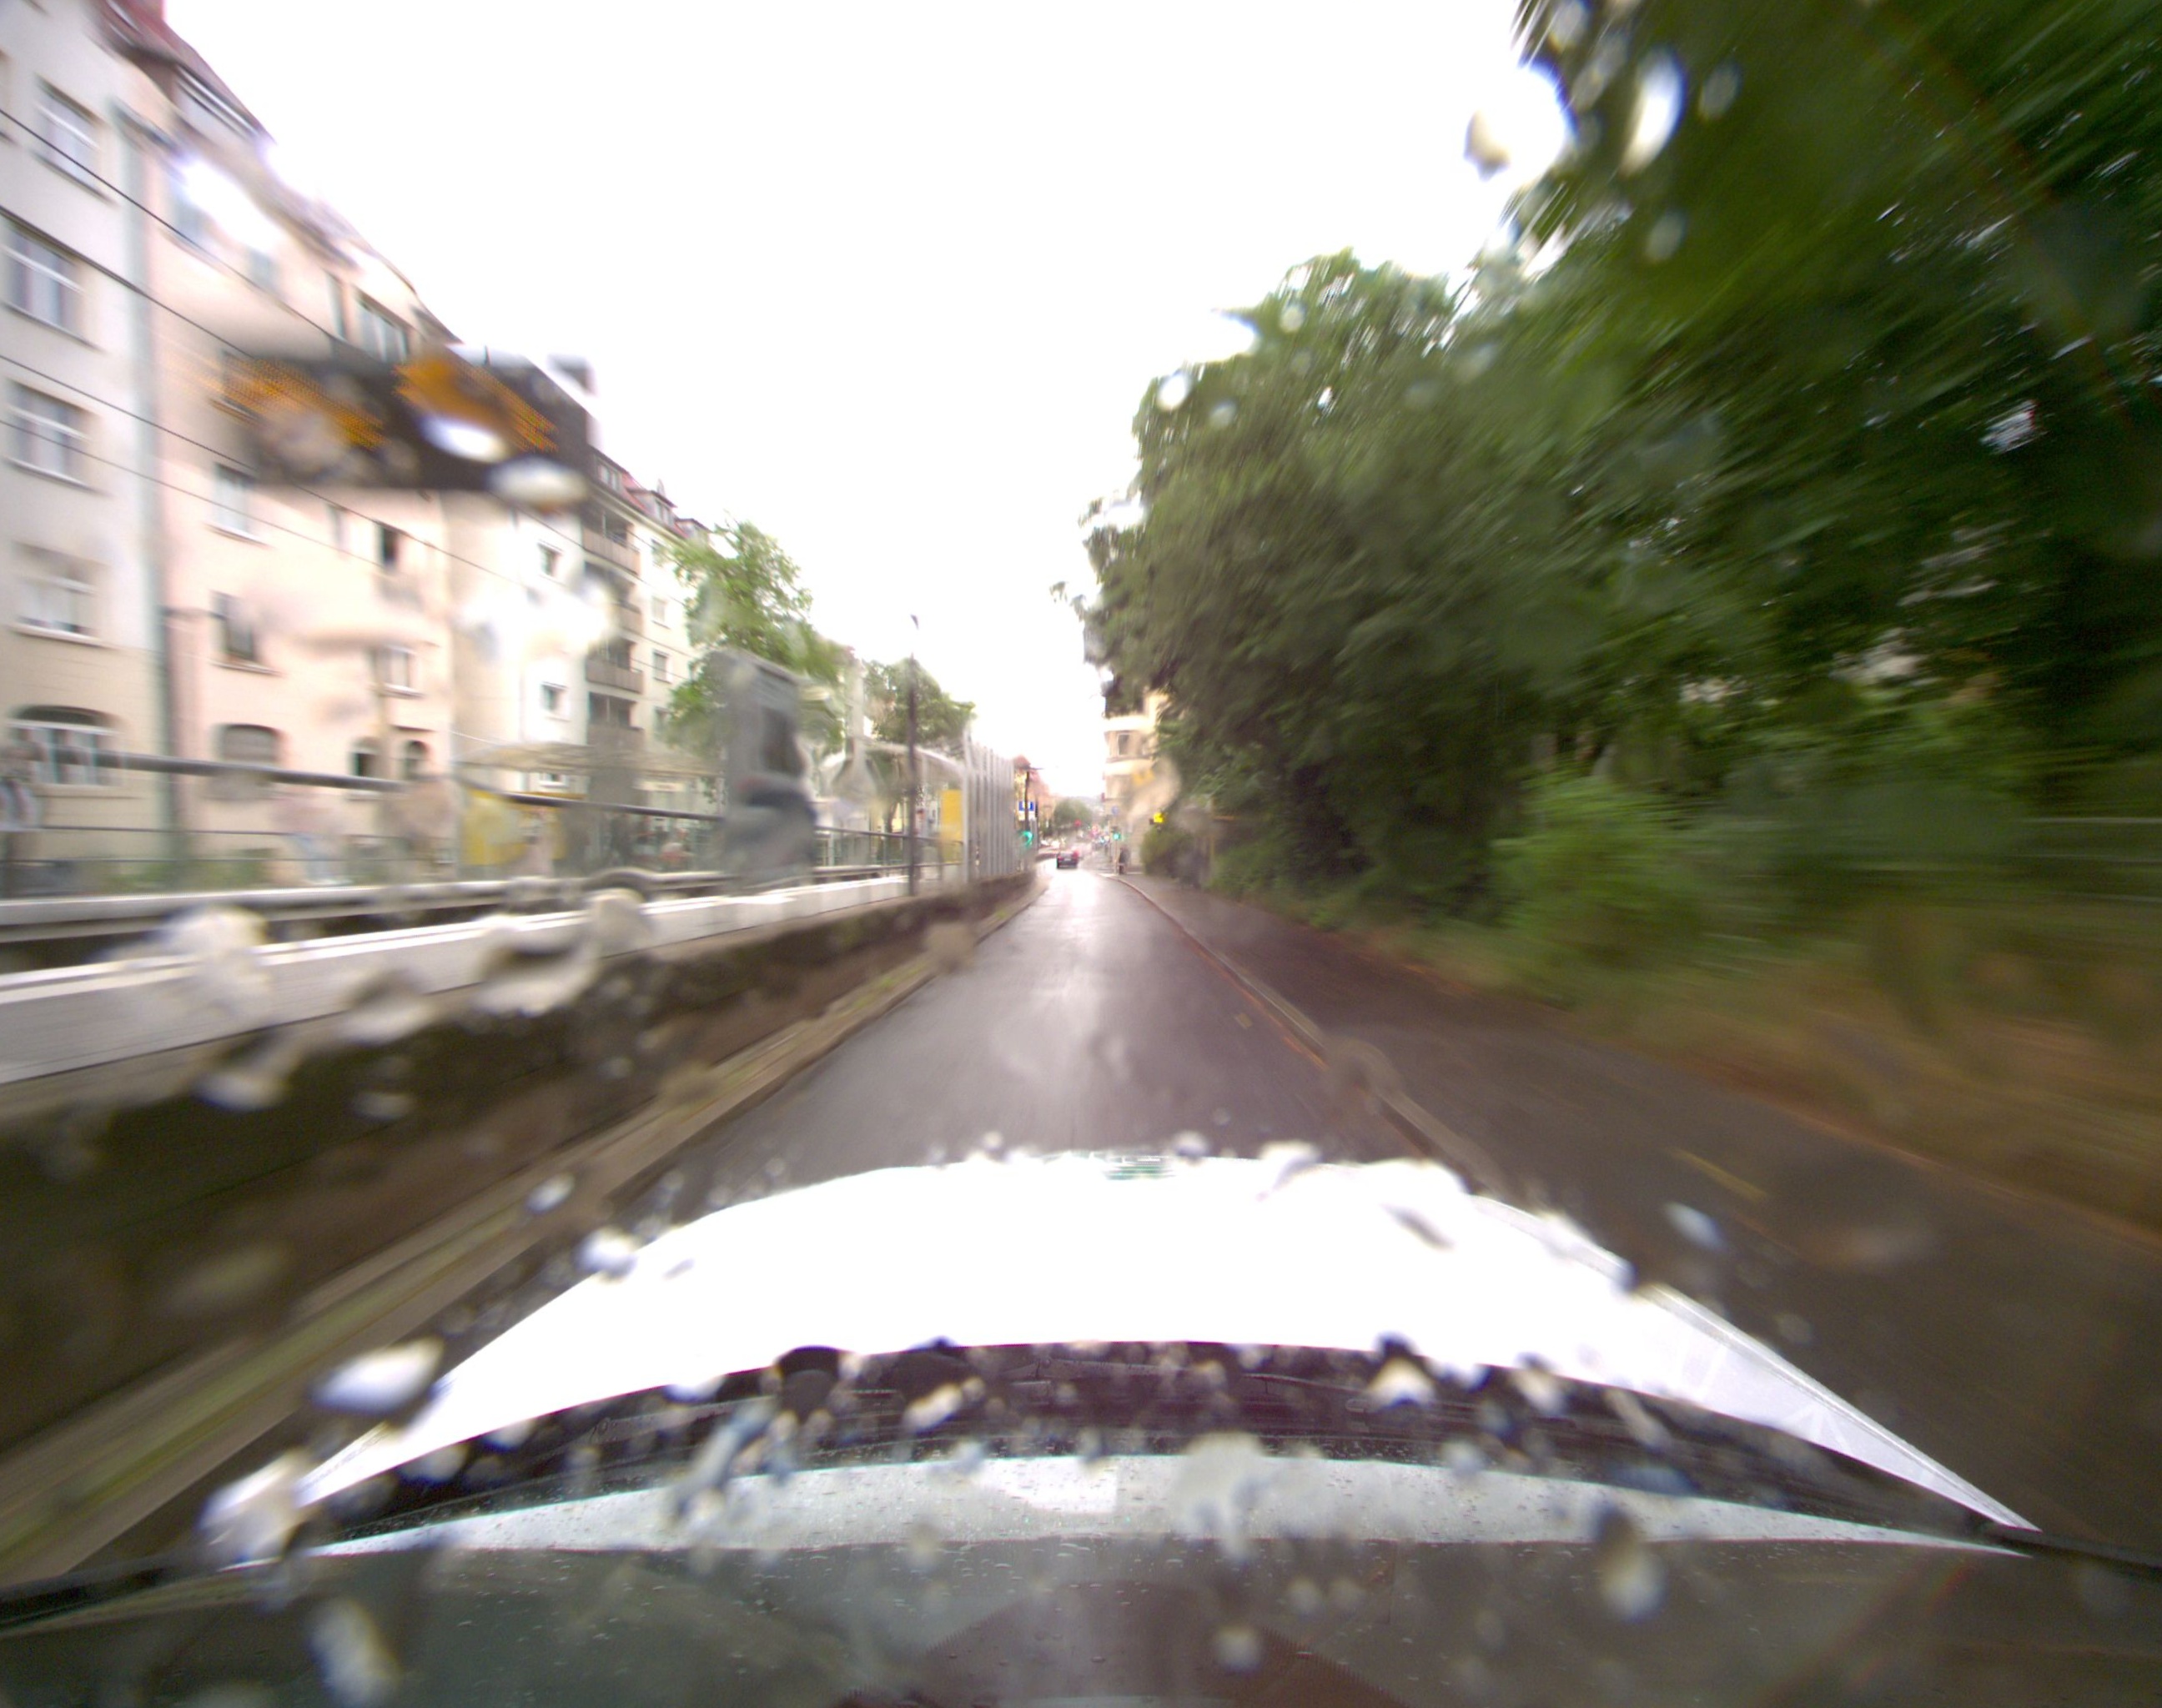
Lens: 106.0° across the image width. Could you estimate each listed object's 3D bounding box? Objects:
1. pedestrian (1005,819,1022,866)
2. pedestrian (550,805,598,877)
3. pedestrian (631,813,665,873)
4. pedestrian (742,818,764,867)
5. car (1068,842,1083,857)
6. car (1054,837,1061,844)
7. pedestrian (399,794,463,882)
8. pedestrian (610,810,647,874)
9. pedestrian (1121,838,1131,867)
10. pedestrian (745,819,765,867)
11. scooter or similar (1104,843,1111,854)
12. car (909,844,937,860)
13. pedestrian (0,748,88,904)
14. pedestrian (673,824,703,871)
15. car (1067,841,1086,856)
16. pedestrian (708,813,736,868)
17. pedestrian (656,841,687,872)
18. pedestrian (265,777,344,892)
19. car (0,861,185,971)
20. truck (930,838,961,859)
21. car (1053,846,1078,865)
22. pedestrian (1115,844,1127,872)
[{"bbox_3d":[-2.609,-0.437,31.416,0.587,1.807,0.660,1,0,0],"label":"pedestrian"},{"bbox_3d":[-12.113,-0.315,19.473,0.592,1.666,0.762,-2,0,1],"label":"pedestrian"},{"bbox_3d":[-12.196,-0.307,22.952,0.548,1.666,0.614,-2,0,1],"label":"pedestrian"},{"bbox_3d":[-11.970,-0.413,29.736,0.480,1.741,0.563,-2,0,1],"label":"pedestrian"},{"bbox_3d":[-0.684,-0.583,101.849,1.942,1.793,4.143,0,0,0],"label":"car"},{"bbox_3d":[-7.000,-3.979,239.562,1.987,2.013,4.346,-1,1,0],"label":"car"},{"bbox_3d":[-12.797,-0.311,16.055,0.592,1.666,0.762,-2,0,1],"label":"pedestrian"},{"bbox_3d":[-12.118,-0.311,21.823,0.592,1.666,0.591,-2,0,1],"label":"pedestrian"},{"bbox_3d":[2.842,-0.118,51.313,0.552,1.813,0.650,0,0,-1],"label":"pedestrian"},{"bbox_3d":[-12.138,-0.406,30.327,0.480,1.741,0.563,-2,0,1],"label":"pedestrian"},{"bbox_3d":[3.969,-0.770,121.037,0.916,1.604,0.862,-1,1,-3],"label":"scooter or similar"},{"bbox_3d":[-16.071,-0.198,82.975,1.719,1.515,4.499,-1,1,3],"label":"car"},{"bbox_3d":[-12.921,-0.318,9.977,0.514,1.838,0.762,-2,0,1],"label":"pedestrian"},{"bbox_3d":[-12.067,-0.203,25.006,0.548,1.413,0.614,-2,0,1],"label":"pedestrian"},{"bbox_3d":[-0.445,-0.575,82.352,1.846,1.473,3.999,0,0,0],"label":"car"},{"bbox_3d":[-11.563,-0.434,26.254,0.548,1.741,0.614,-2,0,1],"label":"pedestrian"},{"bbox_3d":[-12.113,0.068,24.107,0.548,0.872,0.614,-2,0,1],"label":"pedestrian"},{"bbox_3d":[-12.870,-0.315,13.518,0.514,1.838,0.762,-2,0,1],"label":"pedestrian"},{"bbox_3d":[-18.008,1.006,12.948,1.985,1.732,4.819,-2,-1,4],"label":"car"},{"bbox_3d":[-15.448,-0.628,93.128,2.042,2.393,6.329,-1,0,4],"label":"truck"},{"bbox_3d":[-1.187,0.096,64.386,1.846,1.473,4.000,-1,1,0],"label":"car"},{"bbox_3d":[2.507,0.252,50.684,0.693,1.695,0.555,0,0,-2],"label":"pedestrian"}]
